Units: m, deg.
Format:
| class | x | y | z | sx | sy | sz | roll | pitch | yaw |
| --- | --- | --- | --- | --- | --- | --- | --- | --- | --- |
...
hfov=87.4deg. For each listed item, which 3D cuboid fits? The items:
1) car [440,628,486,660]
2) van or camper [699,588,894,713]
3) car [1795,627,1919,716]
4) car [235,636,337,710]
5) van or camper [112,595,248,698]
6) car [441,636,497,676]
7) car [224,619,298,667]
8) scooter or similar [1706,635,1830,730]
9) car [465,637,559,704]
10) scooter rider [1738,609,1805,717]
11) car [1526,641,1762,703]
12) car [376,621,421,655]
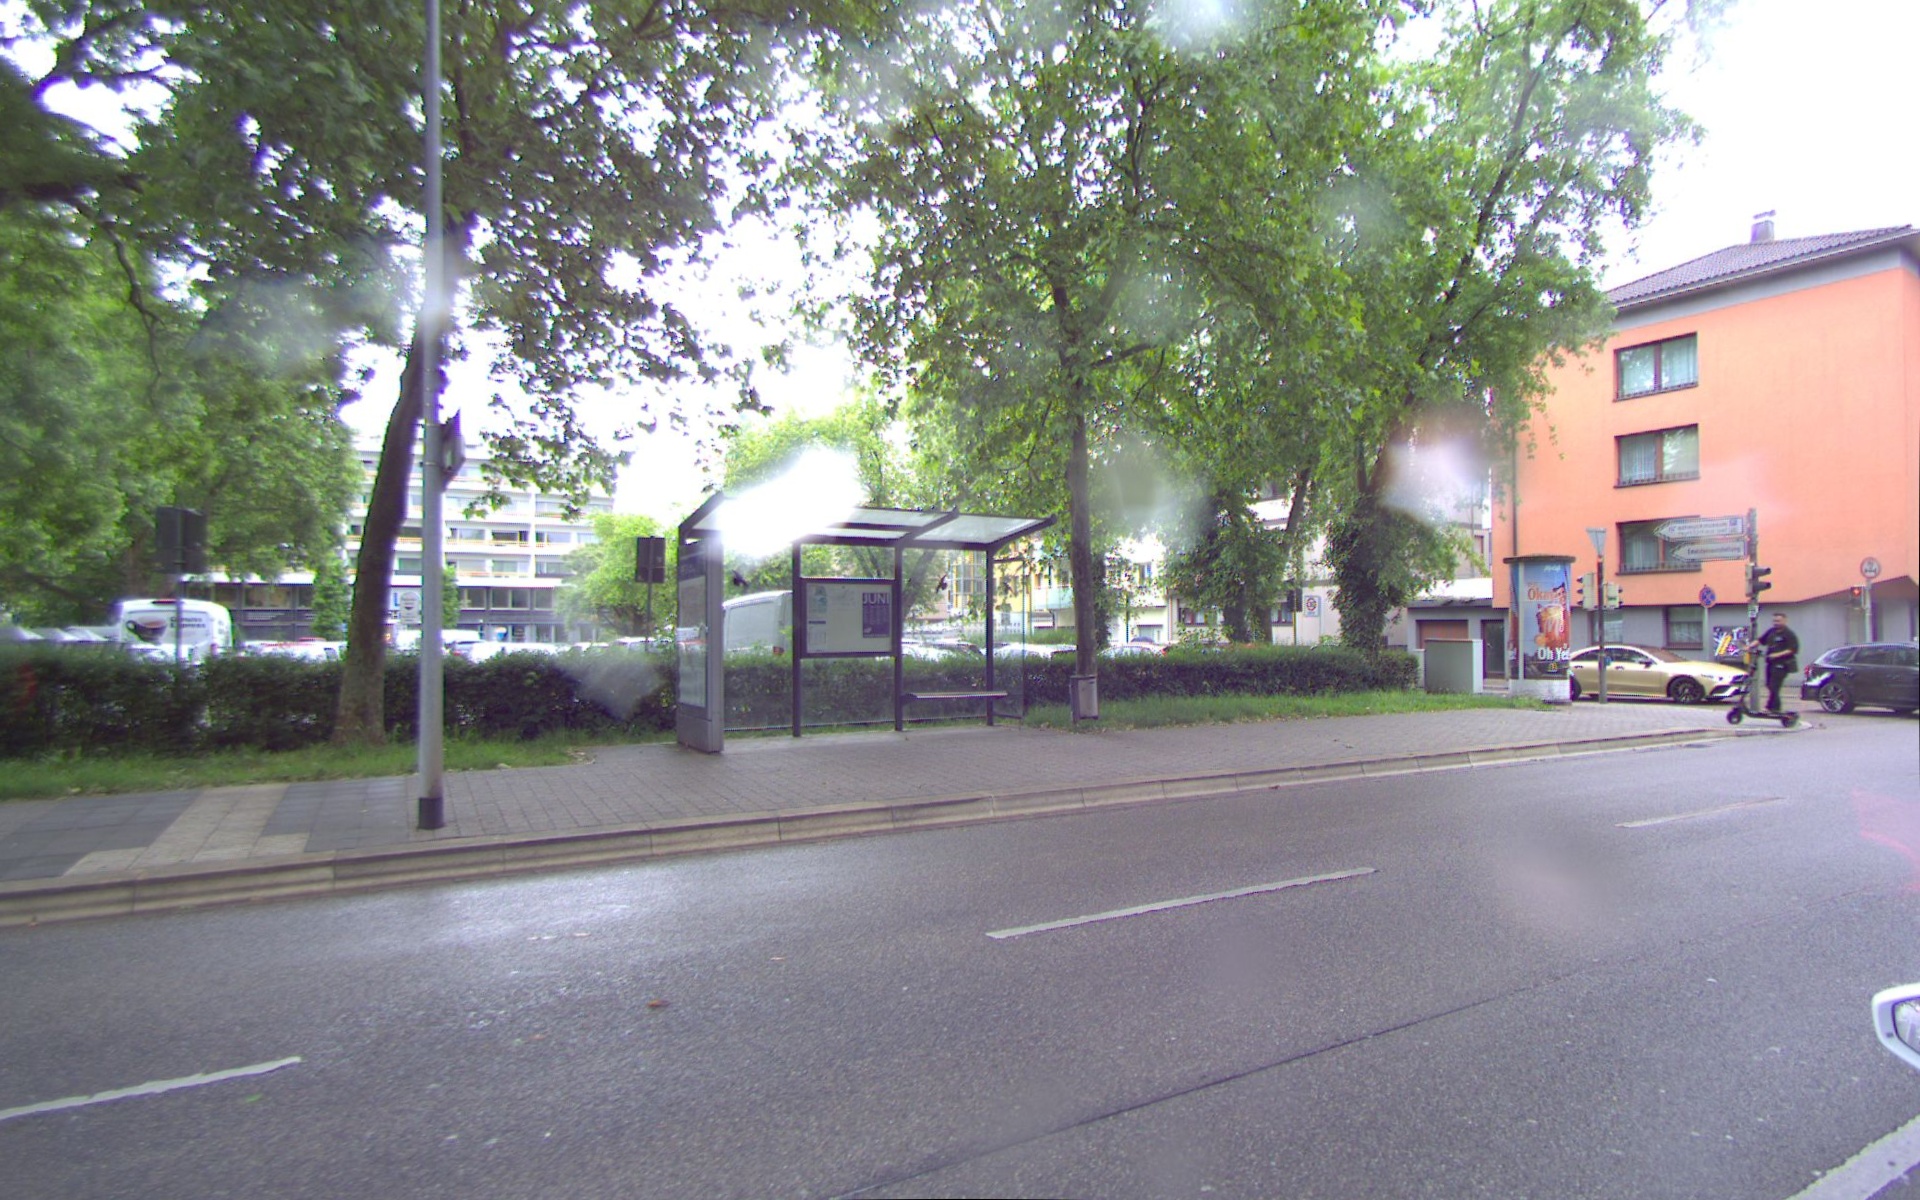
| class | x | y | z | sx | sy | sz | roll | pitch | yaw |
| --- | --- | --- | --- | --- | --- | --- | --- | --- | --- |
| car | -26.794 | 2.324 | 54.072 | 1.876 | 1.506 | 3.966 | 1 | 0 | -31 |
| van or camper | -3.135 | 0.880 | 18.443 | 1.978 | 1.975 | 4.572 | 1 | -2 | -31 |
| car | 18.683 | 1.336 | 19.128 | 1.817 | 1.646 | 4.134 | 0 | -3 | -7 |
| car | -16.681 | 1.749 | 25.029 | 1.876 | 1.506 | 3.966 | 1 | 0 | -31 |
| van or camper | -20.445 | 1.196 | 26.537 | 2.073 | 2.463 | 4.310 | 1 | -2 | -28 |
| car | -21.935 | 2.473 | 44.818 | 1.876 | 1.506 | 3.966 | 1 | 0 | -31 |
| car | -24.877 | 1.501 | 35.867 | 1.876 | 1.506 | 3.966 | 1 | 0 | -31 |
| scooter or similar | 13.711 | 1.377 | 17.090 | 1.370 | 1.465 | 0.817 | 3 | 0 | 15 |
| car | -12.337 | 1.873 | 27.539 | 1.876 | 1.506 | 3.966 | 1 | 0 | -31 |
| scooter rider | 13.770 | 1.058 | 17.068 | 0.632 | 1.789 | 0.736 | 1 | -2 | 14 |
| car | 17.199 | 1.768 | 25.508 | 1.813 | 1.422 | 4.608 | 1 | -3 | -34 |
| car | -32.304 | 2.160 | 57.742 | 2.075 | 1.745 | 3.966 | 1 | 0 | -31 |
